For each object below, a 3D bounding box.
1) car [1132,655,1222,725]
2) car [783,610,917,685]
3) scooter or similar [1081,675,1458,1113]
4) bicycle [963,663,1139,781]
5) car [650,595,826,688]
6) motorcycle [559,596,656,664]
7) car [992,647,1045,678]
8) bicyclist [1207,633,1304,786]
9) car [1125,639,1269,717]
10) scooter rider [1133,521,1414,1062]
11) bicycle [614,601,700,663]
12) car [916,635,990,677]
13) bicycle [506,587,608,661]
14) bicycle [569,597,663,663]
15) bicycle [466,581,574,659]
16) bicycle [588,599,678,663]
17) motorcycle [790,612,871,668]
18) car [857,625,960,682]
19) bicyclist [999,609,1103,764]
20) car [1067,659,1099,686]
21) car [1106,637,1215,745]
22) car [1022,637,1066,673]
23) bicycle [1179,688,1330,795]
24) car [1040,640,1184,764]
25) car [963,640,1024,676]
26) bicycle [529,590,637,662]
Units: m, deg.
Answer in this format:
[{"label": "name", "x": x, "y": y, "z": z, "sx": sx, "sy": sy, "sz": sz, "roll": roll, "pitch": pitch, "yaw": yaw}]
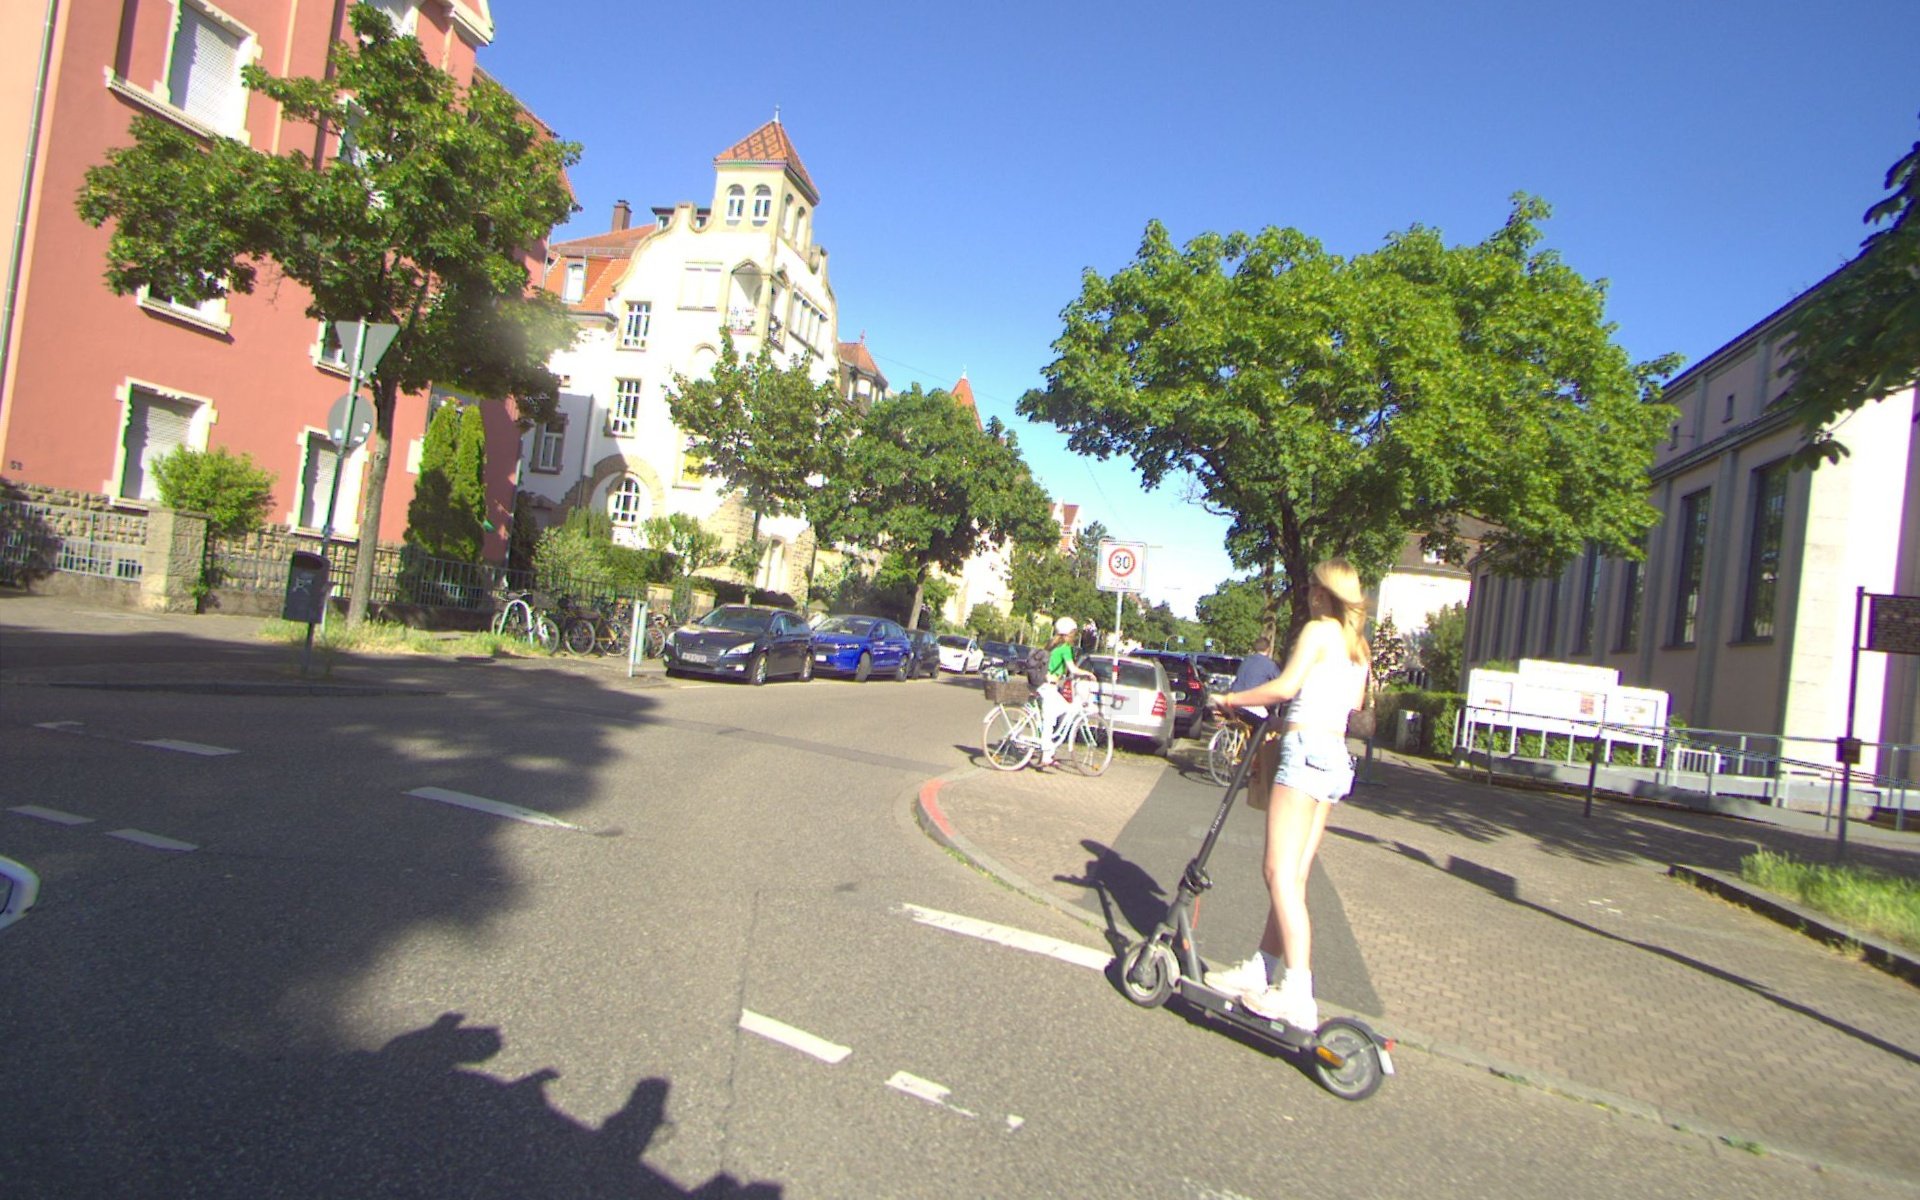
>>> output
[{"label": "car", "x": 6.013, "y": 2.450, "z": 27.480, "sx": 1.776, "sy": 1.490, "sz": 4.343, "roll": 8, "pitch": -2, "yaw": 19}, {"label": "car", "x": -2.639, "y": 1.240, "z": 25.334, "sx": 1.775, "sy": 1.579, "sz": 4.404, "roll": 5, "pitch": -3, "yaw": 15}, {"label": "scooter or similar", "x": 1.166, "y": 1.021, "z": 3.885, "sx": 1.092, "sy": 1.298, "sz": 0.629, "roll": 6, "pitch": -1, "yaw": 45}, {"label": "bicycle", "x": 1.025, "y": 1.365, "z": 11.147, "sx": 1.843, "sy": 1.120, "sz": 0.591, "roll": 8, "pitch": -2, "yaw": -29}, {"label": "car", "x": -4.245, "y": 0.870, "z": 20.022, "sx": 1.775, "sy": 1.500, "sz": 4.344, "roll": 5, "pitch": -2, "yaw": 10}, {"label": "motorcycle", "x": -7.189, "y": 0.610, "z": 20.543, "sx": 1.694, "sy": 1.120, "sz": 0.501, "roll": 9, "pitch": 0, "yaw": 9}, {"label": "car", "x": 3.071, "y": 3.249, "z": 52.072, "sx": 1.775, "sy": 1.413, "sz": 4.404, "roll": 5, "pitch": -3, "yaw": 15}, {"label": "bicyclist", "x": 3.581, "y": 1.322, "z": 12.202, "sx": 0.714, "sy": 1.734, "sz": 0.642, "roll": 7, "pitch": -1, "yaw": -27}, {"label": "car", "x": 8.454, "y": 2.772, "z": 36.197, "sx": 4.688, "sy": 2.024, "sz": 1.812, "roll": 8, "pitch": -1, "yaw": 11}, {"label": "scooter rider", "x": 1.213, "y": 0.673, "z": 3.888, "sx": 0.623, "sy": 1.853, "sz": 0.622, "roll": 7, "pitch": -1, "yaw": 44}, {"label": "bicycle", "x": -6.819, "y": 0.726, "z": 22.646, "sx": 1.694, "sy": 1.120, "sz": 0.516, "roll": 9, "pitch": 0, "yaw": 13}, {"label": "car", "x": -0.205, "y": 2.248, "z": 40.009, "sx": 1.775, "sy": 1.413, "sz": 4.404, "roll": 5, "pitch": -3, "yaw": 15}, {"label": "bicycle", "x": -7.668, "y": 0.455, "z": 19.139, "sx": 1.694, "sy": 1.128, "sz": 0.546, "roll": 9, "pitch": 0, "yaw": 16}, {"label": "bicycle", "x": -7.213, "y": 0.629, "z": 21.096, "sx": 1.694, "sy": 1.120, "sz": 0.501, "roll": 9, "pitch": 0, "yaw": 9}, {"label": "bicycle", "x": -7.957, "y": 0.360, "z": 18.195, "sx": 1.694, "sy": 1.128, "sz": 0.546, "roll": 9, "pitch": 0, "yaw": 16}, {"label": "bicycle", "x": -7.050, "y": 0.673, "z": 21.692, "sx": 1.694, "sy": 1.120, "sz": 0.501, "roll": 9, "pitch": 0, "yaw": 13}, {"label": "motorcycle", "x": -4.157, "y": 1.310, "z": 32.405, "sx": 2.267, "sy": 1.446, "sz": 0.946, "roll": 10, "pitch": -1, "yaw": -40}, {"label": "car", "x": -1.478, "y": 1.673, "z": 30.887, "sx": 1.775, "sy": 1.467, "sz": 4.404, "roll": 5, "pitch": -3, "yaw": 15}, {"label": "bicyclist", "x": 1.003, "y": 0.951, "z": 11.116, "sx": 0.795, "sy": 1.599, "sz": 0.591, "roll": 7, "pitch": -1, "yaw": -29}, {"label": "car", "x": 9.907, "y": 5.814, "z": 80.833, "sx": 1.775, "sy": 1.952, "sz": 4.404, "roll": 5, "pitch": -2, "yaw": 15}, {"label": "car", "x": 4.116, "y": 1.825, "z": 20.797, "sx": 1.775, "sy": 1.748, "sz": 4.345, "roll": 8, "pitch": -2, "yaw": 11}, {"label": "car", "x": 5.151, "y": 3.357, "z": 61.192, "sx": 1.775, "sy": 1.952, "sz": 4.404, "roll": 5, "pitch": -2, "yaw": 15}, {"label": "bicycle", "x": 3.583, "y": 1.724, "z": 12.220, "sx": 1.697, "sy": 1.120, "sz": 0.642, "roll": 8, "pitch": -2, "yaw": -28}, {"label": "car", "x": 2.476, "y": 1.532, "z": 15.904, "sx": 1.775, "sy": 1.431, "sz": 4.345, "roll": 8, "pitch": -2, "yaw": 11}, {"label": "car", "x": 1.619, "y": 2.729, "z": 46.943, "sx": 1.775, "sy": 1.413, "sz": 4.404, "roll": 5, "pitch": -3, "yaw": 15}, {"label": "bicycle", "x": -7.439, "y": 0.516, "z": 19.881, "sx": 1.797, "sy": 1.120, "sz": 0.501, "roll": 9, "pitch": 0, "yaw": 0}]
